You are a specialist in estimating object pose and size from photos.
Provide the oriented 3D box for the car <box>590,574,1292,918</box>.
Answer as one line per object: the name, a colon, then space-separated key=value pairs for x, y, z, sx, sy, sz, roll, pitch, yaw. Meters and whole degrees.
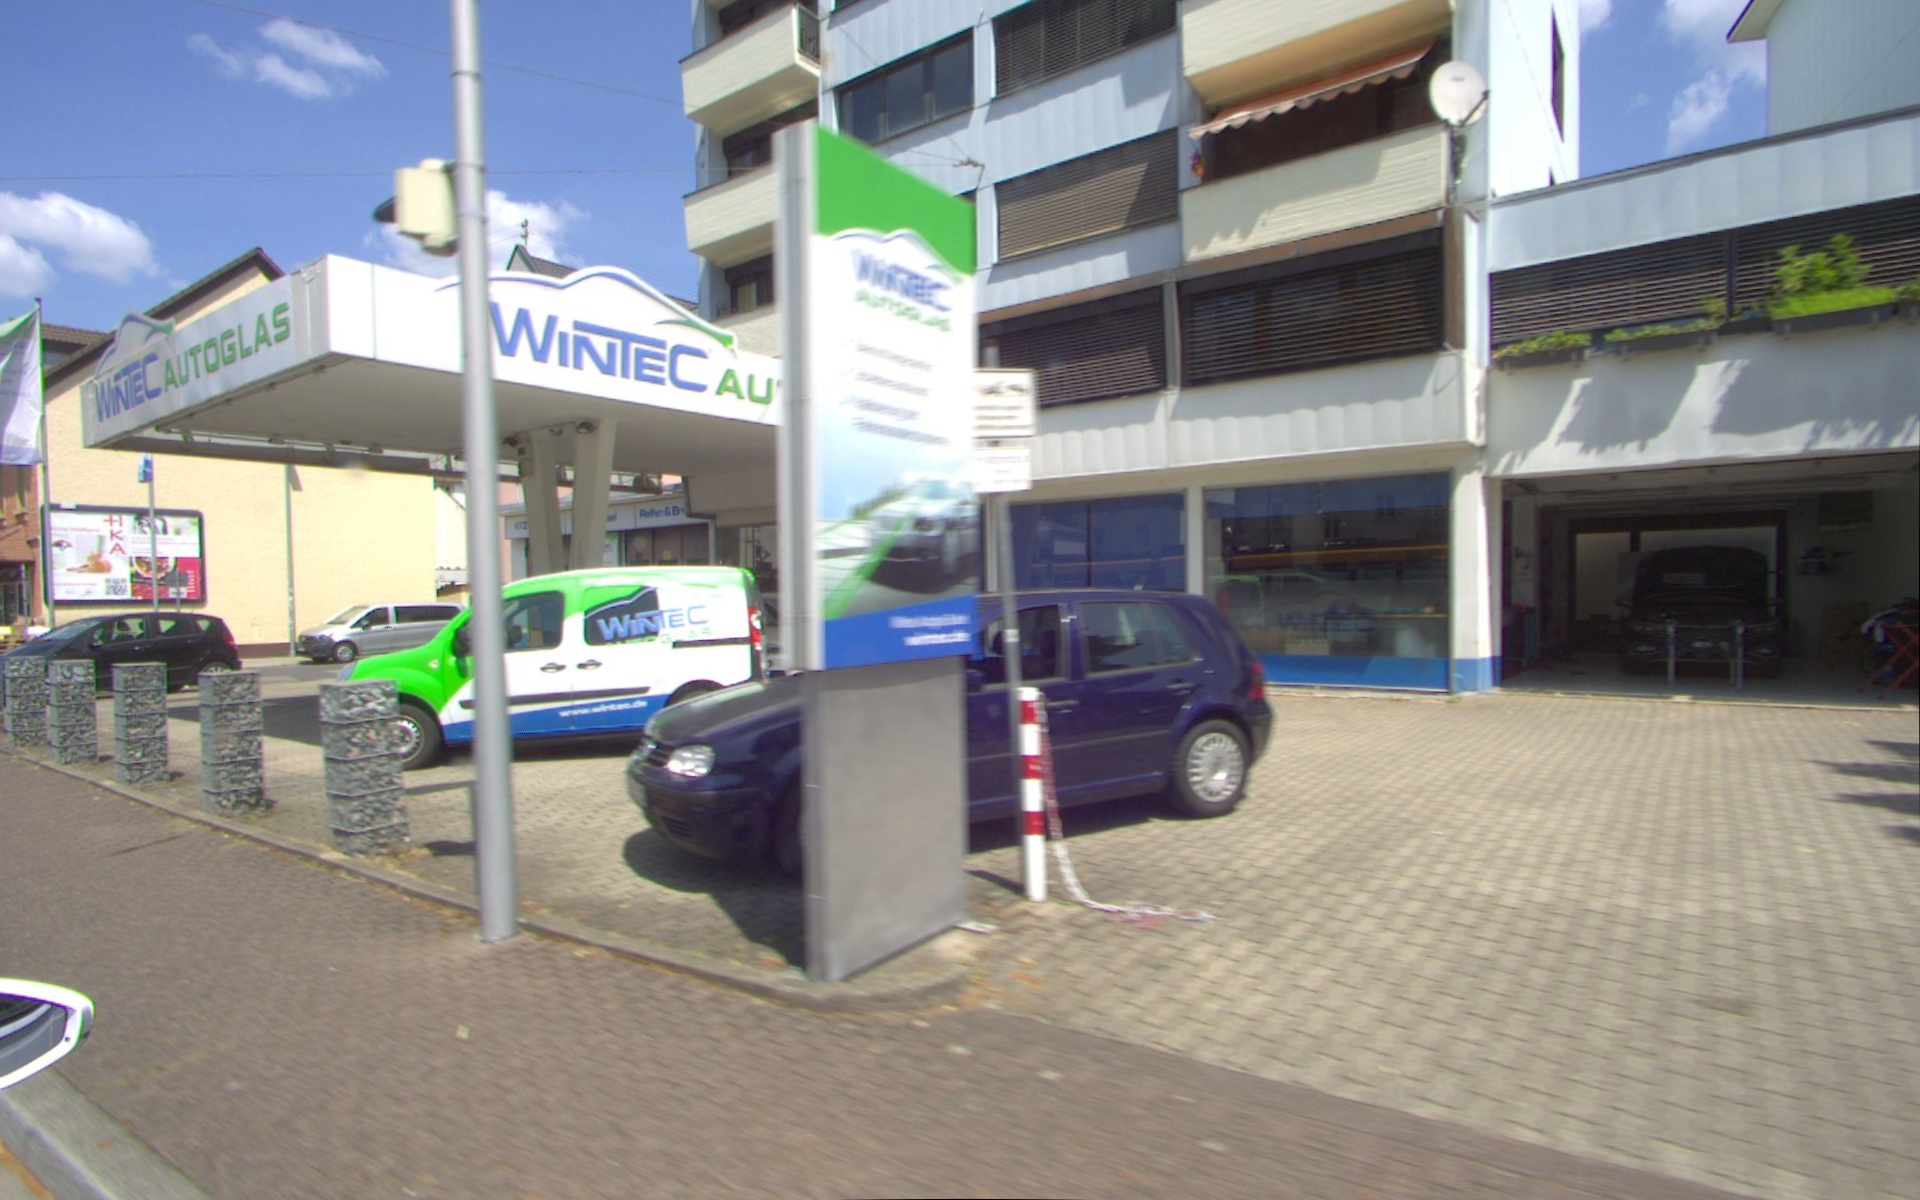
car: x=-0.041 y=0.624 z=6.091 sx=3.913 sy=1.448 sz=1.692 roll=-2 pitch=1 yaw=-29

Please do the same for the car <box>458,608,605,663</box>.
car: x=-13.484 y=1.083 z=31.663 sx=1.820 sy=1.563 sz=3.858 roll=-1 pitch=0 yaw=39

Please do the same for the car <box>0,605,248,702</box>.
car: x=-15.898 y=0.920 z=18.675 sx=1.812 sy=1.563 sz=3.875 roll=-1 pitch=0 yaw=25

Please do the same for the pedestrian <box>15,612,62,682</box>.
pedestrian: x=-22.941 y=1.152 z=24.939 sx=0.697 sy=1.664 sz=0.656 roll=-2 pitch=3 yaw=-32

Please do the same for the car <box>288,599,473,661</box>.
car: x=-19.238 y=0.943 z=33.500 sx=1.883 sy=1.886 sz=5.040 roll=-1 pitch=0 yaw=34

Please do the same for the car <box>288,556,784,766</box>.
car: x=-3.946 y=0.562 z=10.008 sx=4.211 sy=1.812 sz=1.822 roll=0 pitch=-2 yaw=-13

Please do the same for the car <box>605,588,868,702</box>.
car: x=-3.800 y=0.682 z=16.570 sx=4.648 sy=1.648 sz=1.738 roll=-1 pitch=0 yaw=39
